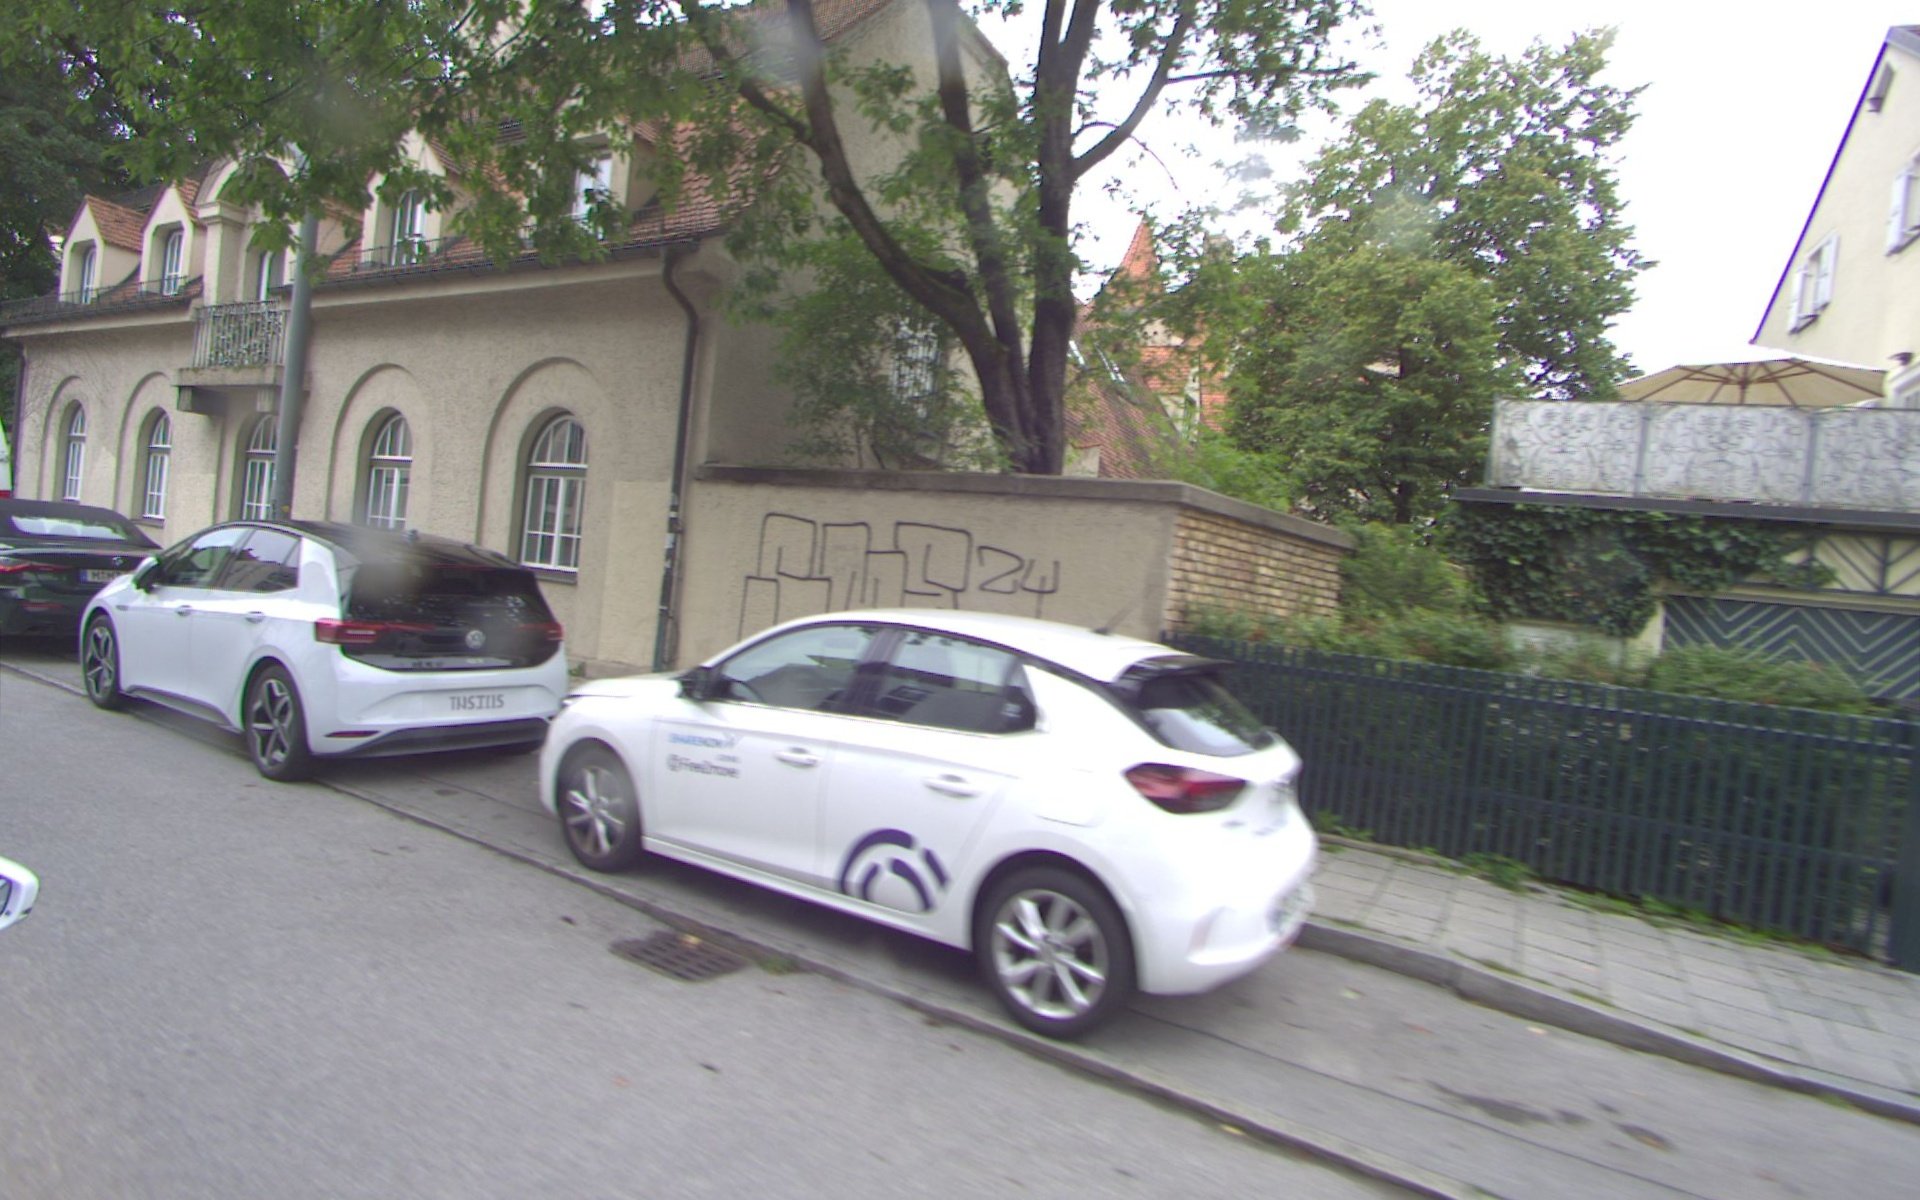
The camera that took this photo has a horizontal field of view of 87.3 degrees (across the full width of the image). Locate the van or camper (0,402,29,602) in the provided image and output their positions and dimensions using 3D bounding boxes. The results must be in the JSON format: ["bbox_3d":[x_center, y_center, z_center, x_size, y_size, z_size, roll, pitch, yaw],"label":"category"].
[{"bbox_3d":[-15.284,-1.583,13.741,5.632,2.584,2.193,7,2,31],"label":"van or camper"}]

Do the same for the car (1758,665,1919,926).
[{"bbox_3d":[7.386,1.392,7.157,1.650,1.520,4.079,7,2,26],"label":"car"}]

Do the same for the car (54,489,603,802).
[{"bbox_3d":[-4.732,0.157,7.357,4.170,1.558,1.707,7,3,32],"label":"car"}]

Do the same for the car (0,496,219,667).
[{"bbox_3d":[-9.602,-0.313,10.282,4.367,1.387,1.708,7,2,32],"label":"car"}]

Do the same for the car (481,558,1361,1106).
[{"bbox_3d":[-0.341,0.727,4.913,3.934,1.460,1.686,6,1,32],"label":"car"}]
